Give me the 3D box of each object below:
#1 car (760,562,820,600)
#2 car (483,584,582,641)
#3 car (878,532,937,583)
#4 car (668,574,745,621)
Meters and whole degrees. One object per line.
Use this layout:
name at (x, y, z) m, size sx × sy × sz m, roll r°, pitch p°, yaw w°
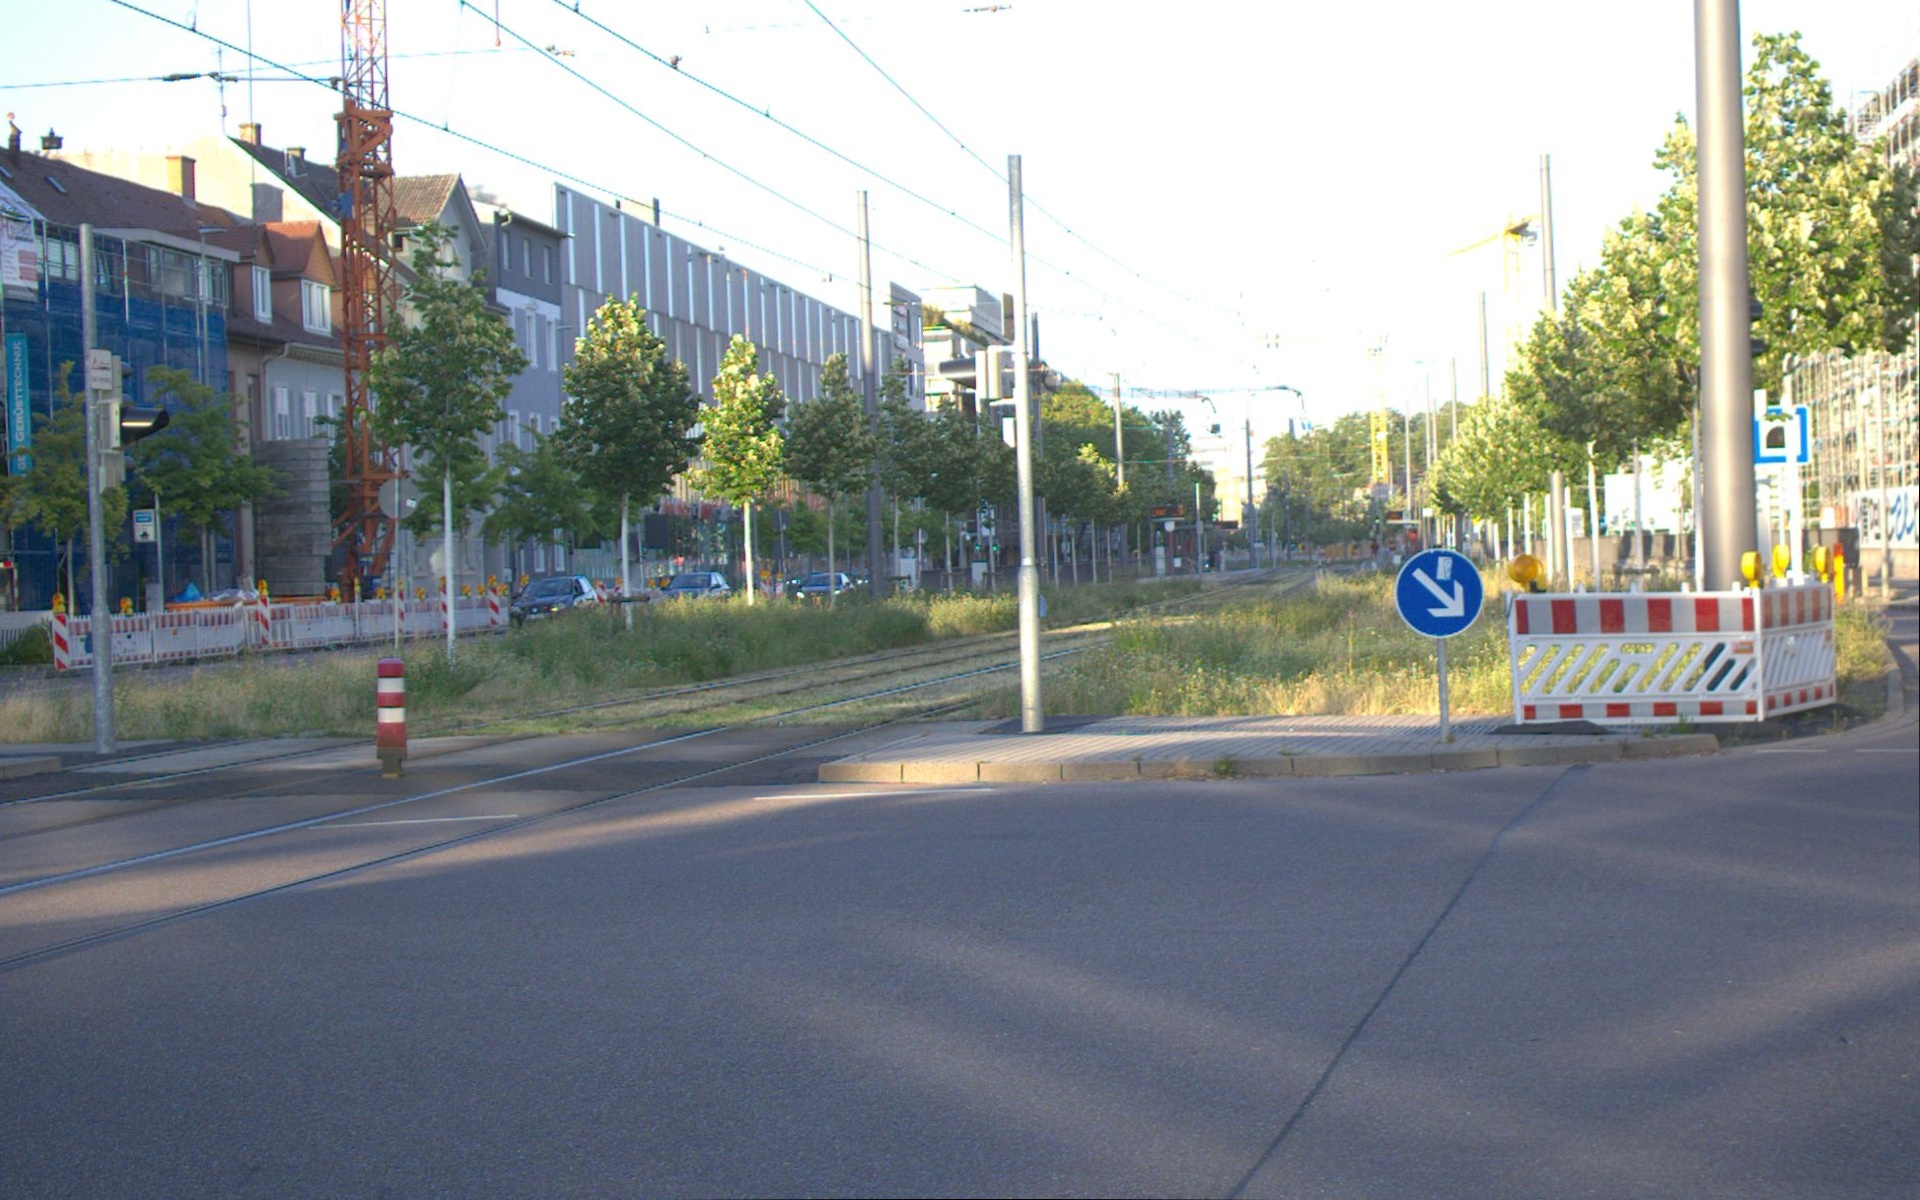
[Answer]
car at (-6.734, -0.753, 136.602) m, size 1.658 × 1.426 × 3.893 m, roll 0°, pitch 1°, yaw 8°
car at (-11.389, 0.314, 91.737) m, size 1.658 × 1.426 × 3.893 m, roll 0°, pitch 1°, yaw 8°
car at (-2.069, -1.678, 135.848) m, size 1.658 × 1.957 × 4.265 m, roll 0°, pitch 1°, yaw 8°
car at (-8.072, -0.089, 109.846) m, size 1.658 × 1.426 × 3.893 m, roll 0°, pitch 1°, yaw 8°
